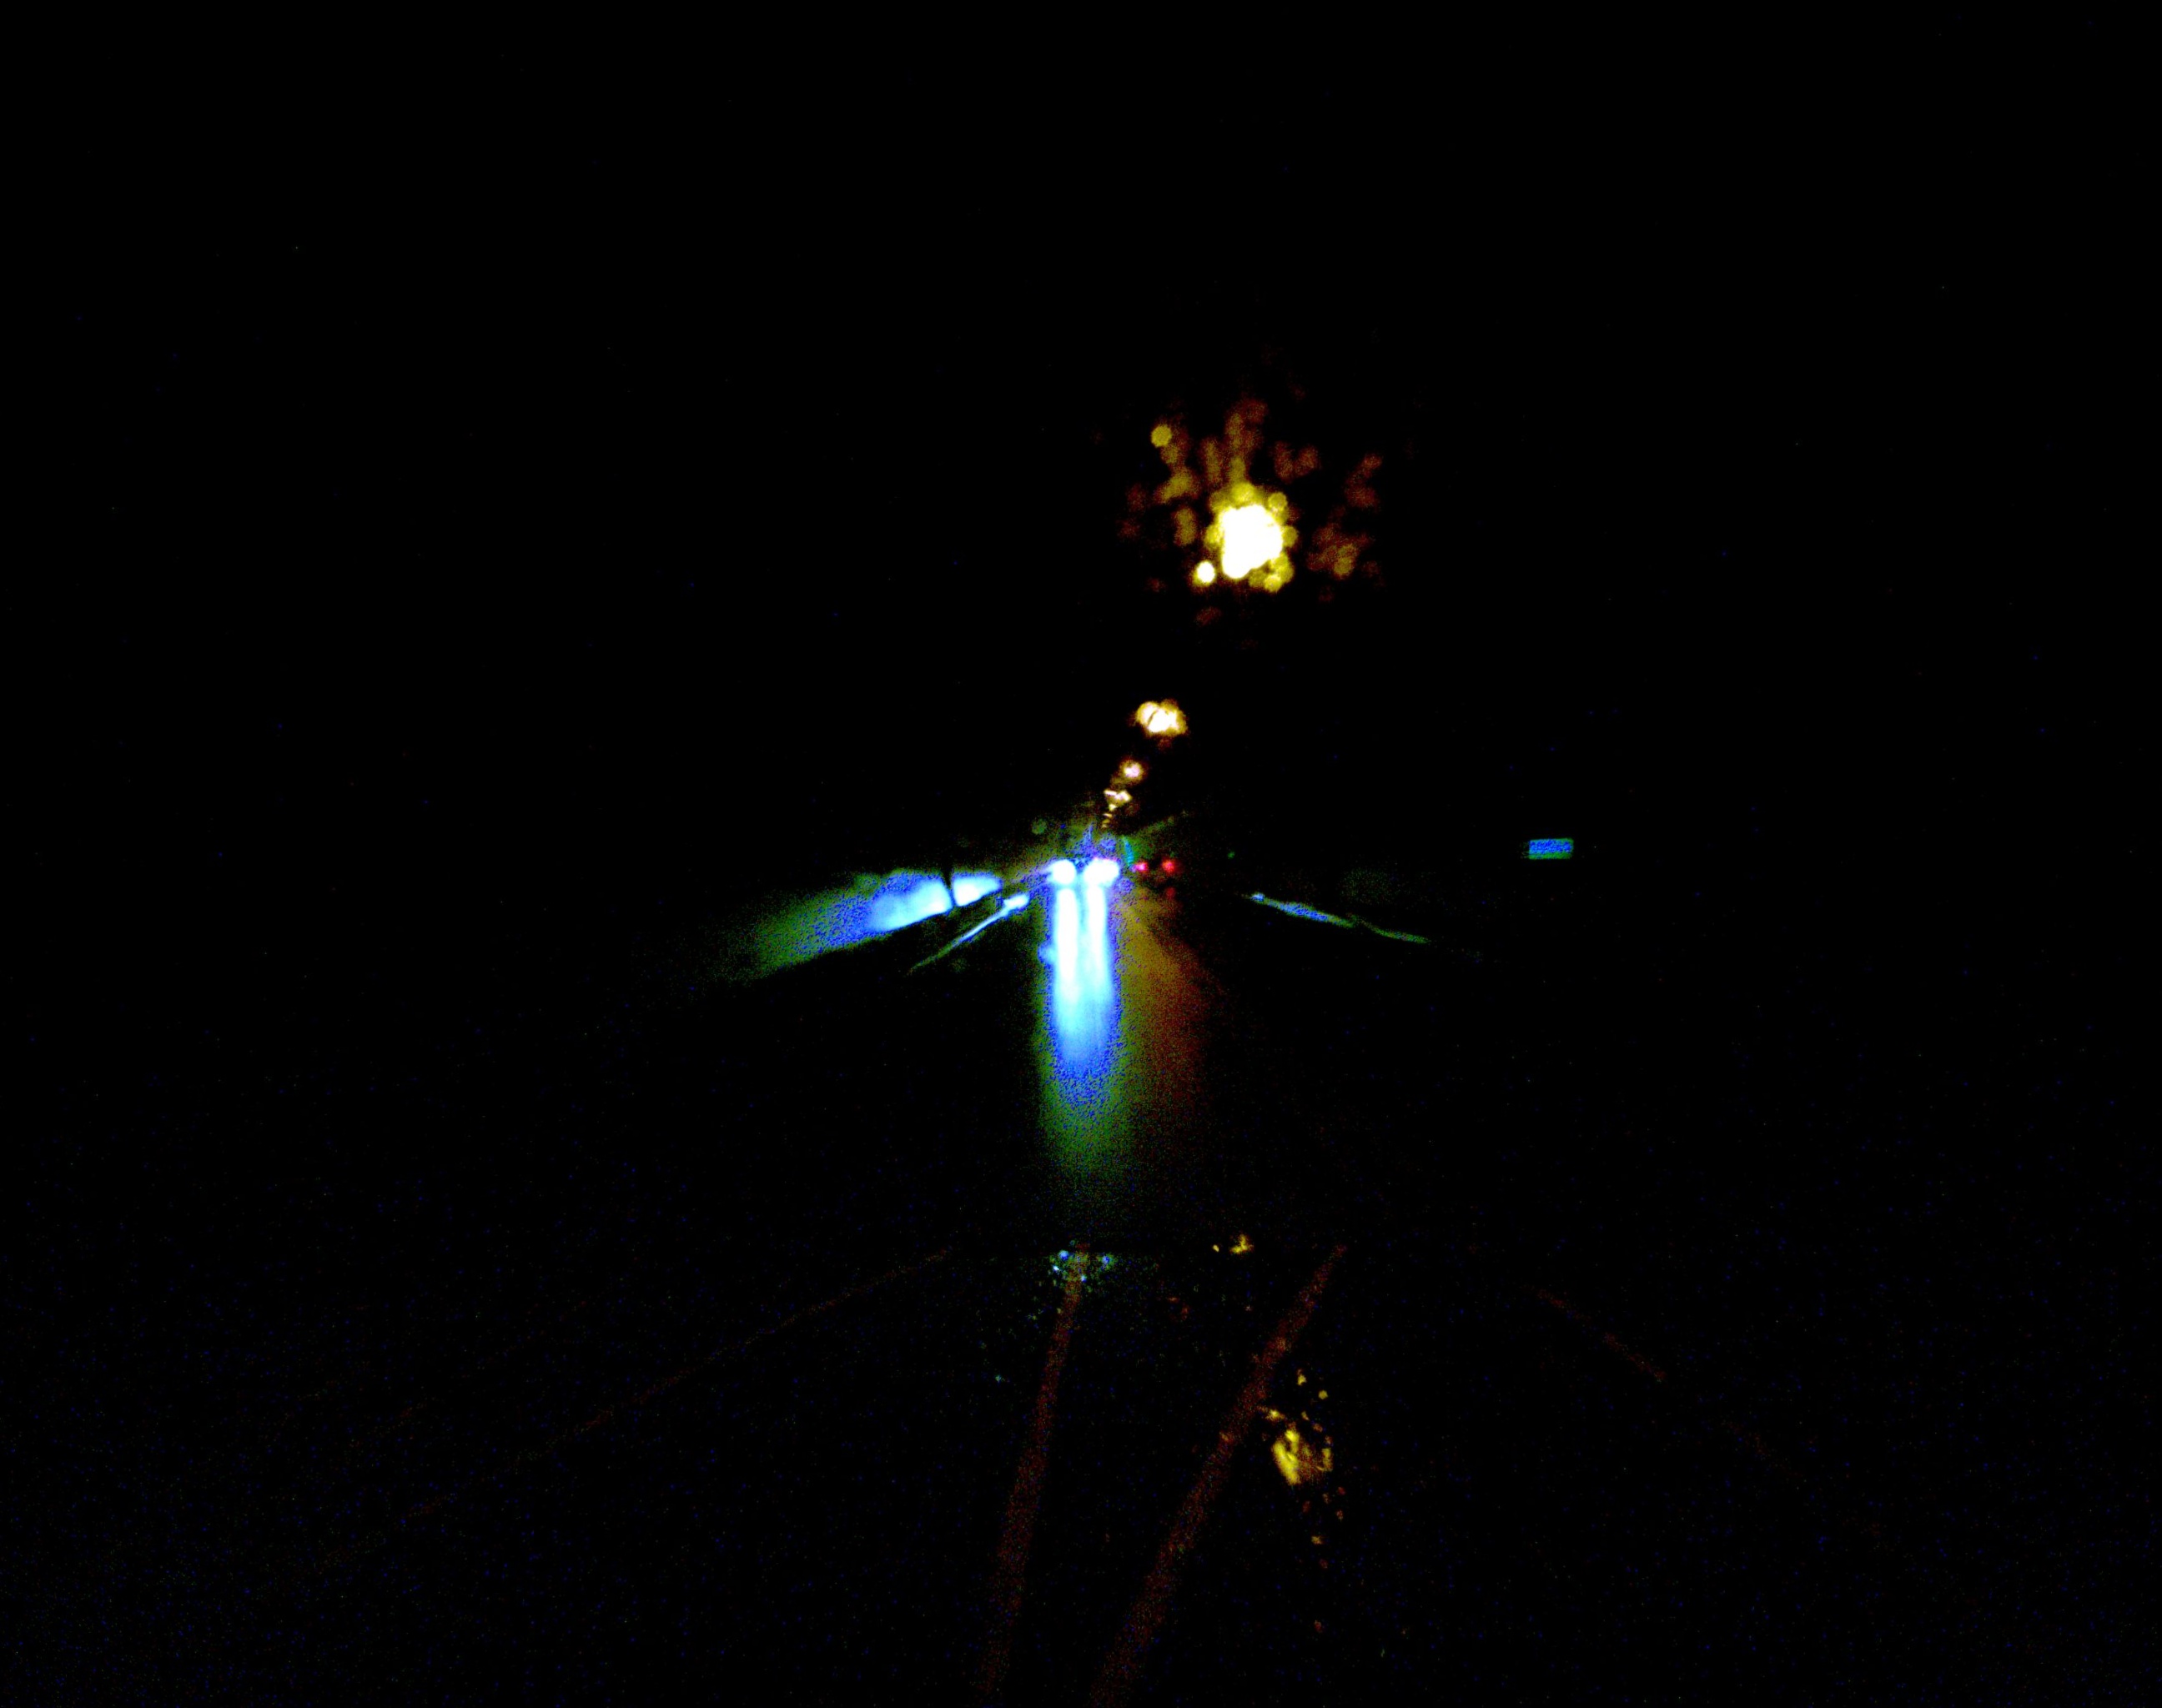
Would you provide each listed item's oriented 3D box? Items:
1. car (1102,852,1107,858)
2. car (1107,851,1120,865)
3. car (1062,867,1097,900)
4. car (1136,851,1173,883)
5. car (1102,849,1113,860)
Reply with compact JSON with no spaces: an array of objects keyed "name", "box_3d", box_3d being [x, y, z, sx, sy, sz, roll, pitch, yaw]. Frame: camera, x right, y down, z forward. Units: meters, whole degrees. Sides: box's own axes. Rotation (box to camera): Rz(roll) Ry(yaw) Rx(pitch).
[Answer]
[{"name":"car","box_3d":[6.661,0.226,217.950,1.524,1.540,4.055,-1,-1,2]},{"name":"car","box_3d":[4.580,0.603,107.127,1.765,1.888,4.609,-1,0,2]},{"name":"car","box_3d":[-0.028,1.422,37.965,1.627,1.487,3.585,-1,0,2]},{"name":"car","box_3d":[3.724,0.657,39.145,1.639,1.526,3.646,-1,0,2]},{"name":"car","box_3d":[4.879,0.080,140.348,1.845,1.888,4.609,-1,0,2]}]
